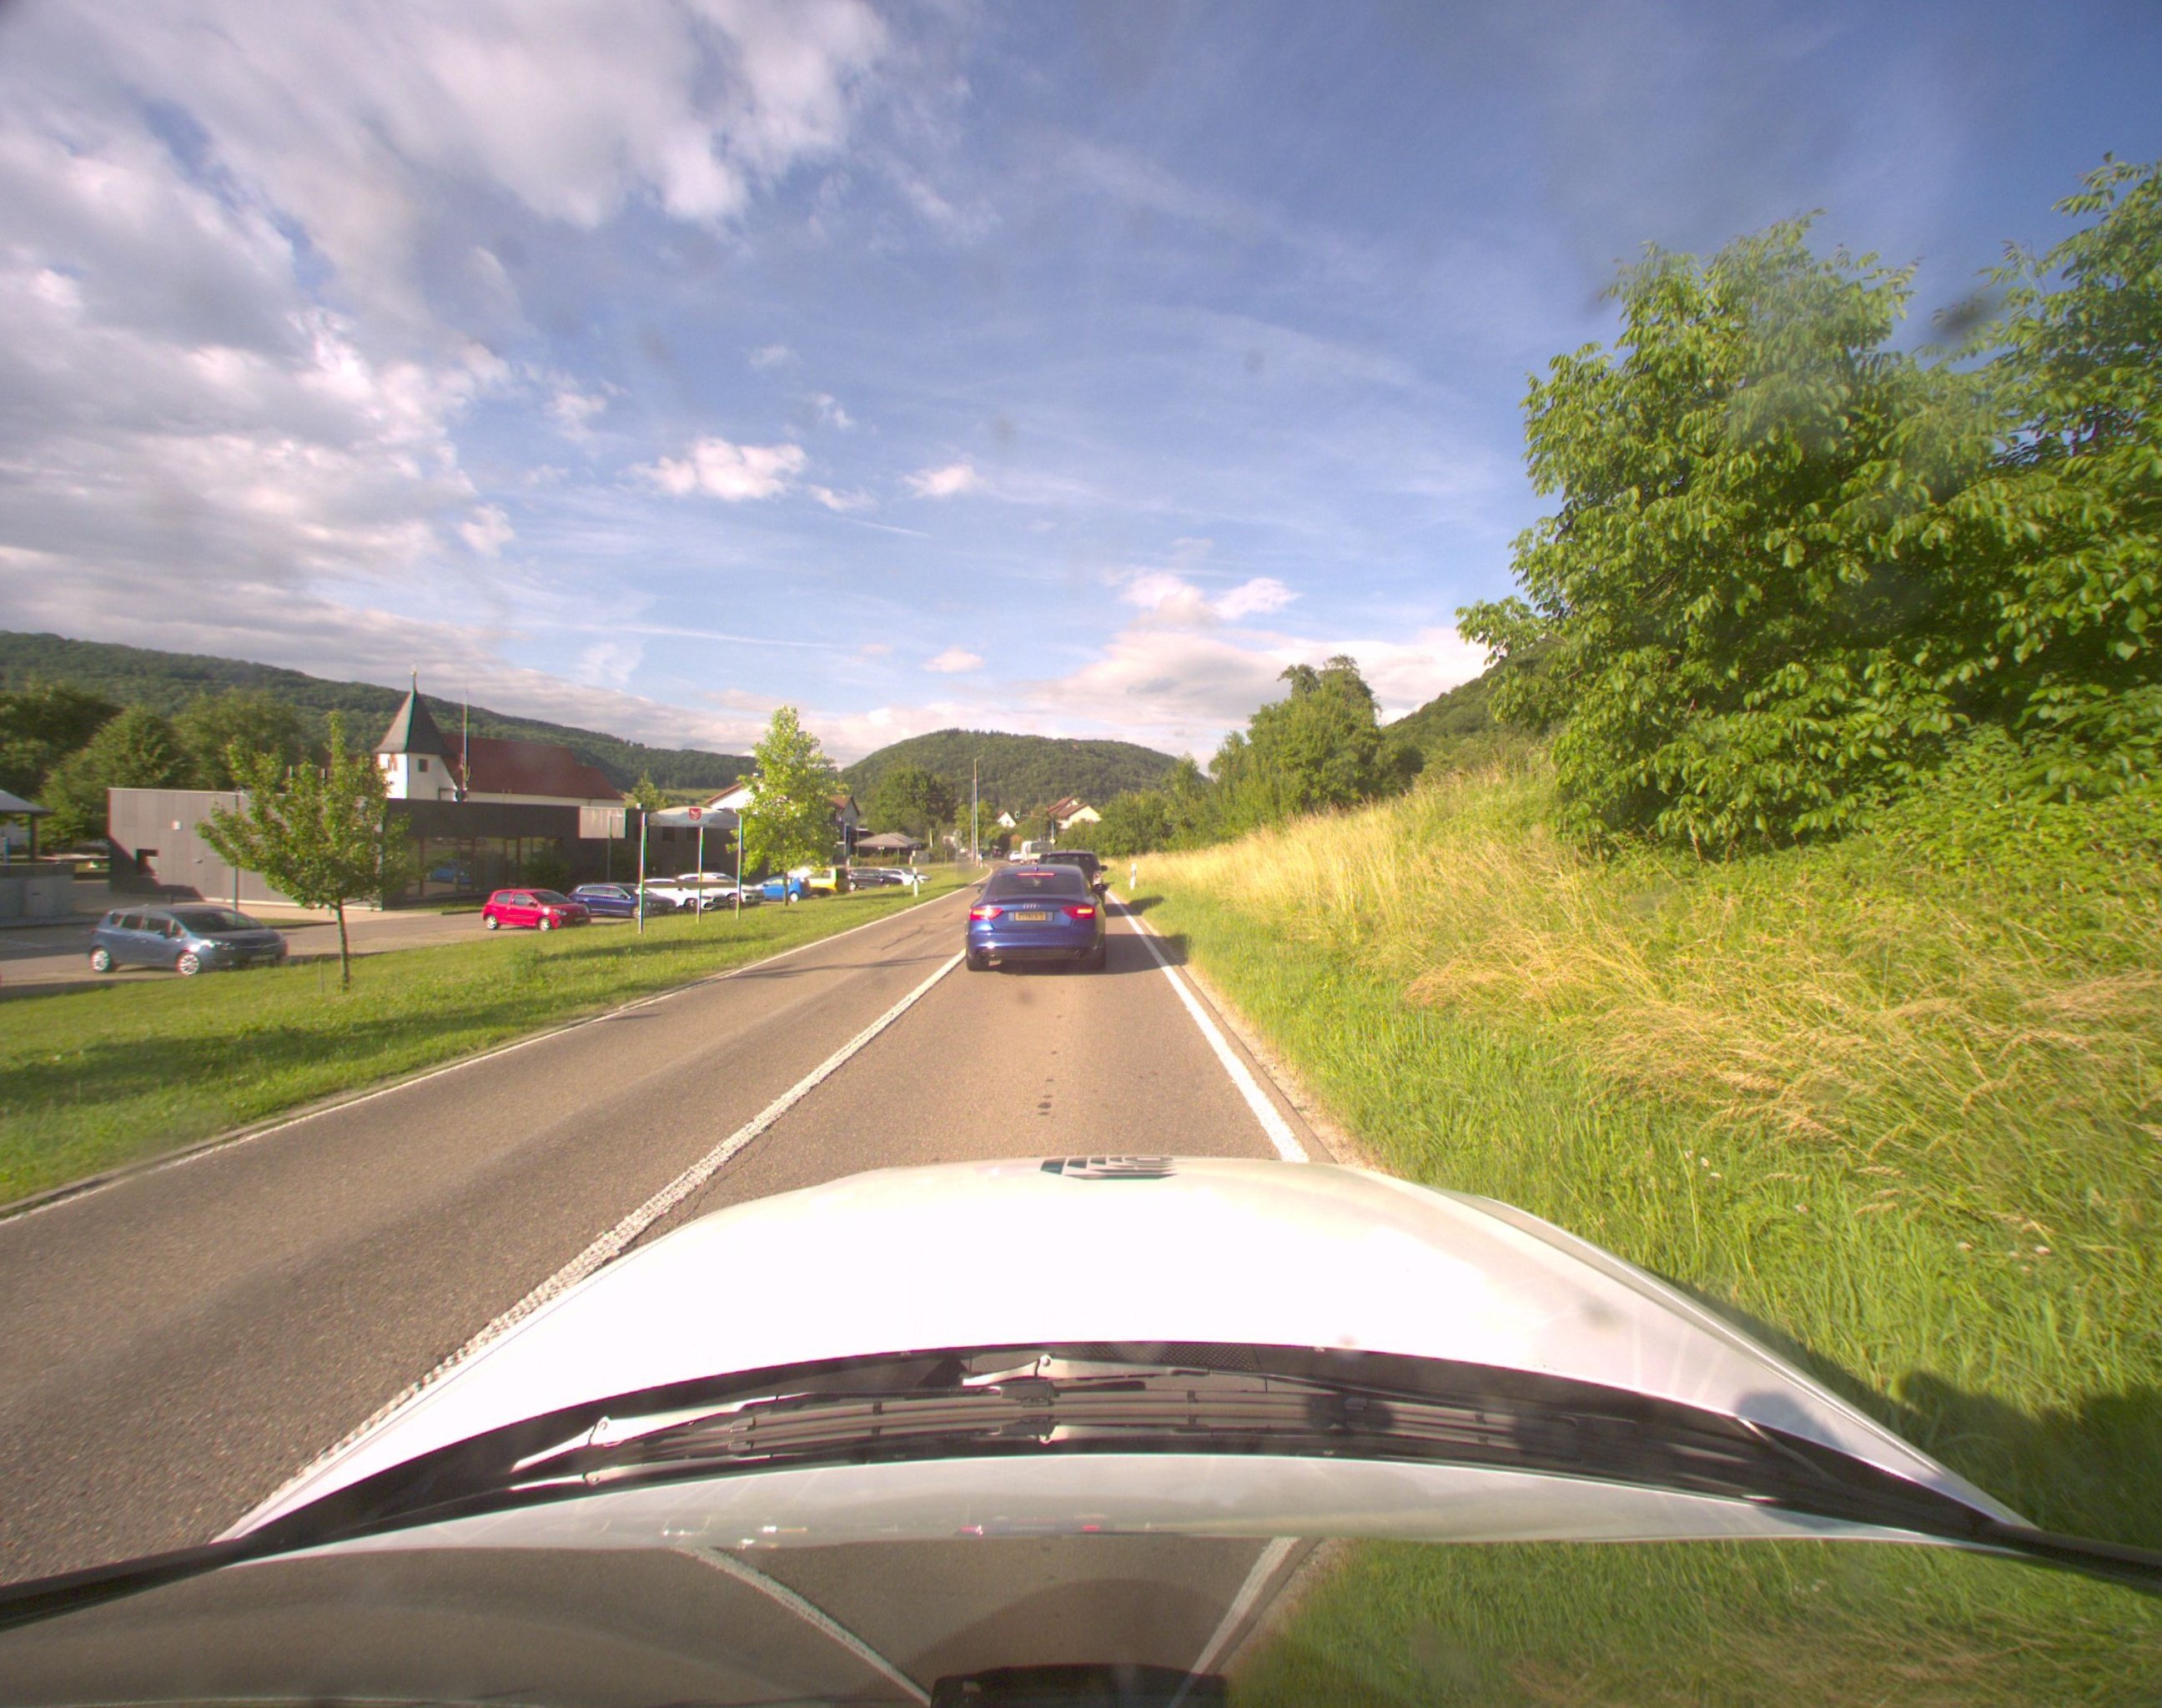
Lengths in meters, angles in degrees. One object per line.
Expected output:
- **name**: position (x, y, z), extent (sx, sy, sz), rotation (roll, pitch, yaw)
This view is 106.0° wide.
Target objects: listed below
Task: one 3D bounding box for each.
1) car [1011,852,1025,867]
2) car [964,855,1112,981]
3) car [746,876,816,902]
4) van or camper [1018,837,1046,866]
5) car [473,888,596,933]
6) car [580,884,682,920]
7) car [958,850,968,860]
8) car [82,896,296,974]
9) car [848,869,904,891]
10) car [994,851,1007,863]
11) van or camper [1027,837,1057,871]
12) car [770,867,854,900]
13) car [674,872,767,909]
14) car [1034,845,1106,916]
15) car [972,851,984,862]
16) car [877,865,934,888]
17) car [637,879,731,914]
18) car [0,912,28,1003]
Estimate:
- **car**: position (-8.191, 0.737, 106.078), extent (1.657, 1.924, 3.991), rotation (-2, 0, -6)
- **car**: position (-0.553, 0.772, 11.535), extent (1.738, 1.450, 3.514), rotation (-2, 0, -2)
- **car**: position (-17.436, 2.014, 47.395), extent (3.354, 1.373, 1.662), rotation (-2, 0, 3)
- **van or camper**: position (-5.026, -0.205, 82.553), extent (2.279, 2.714, 5.751), rotation (-2, -1, -8)
- **car**: position (-20.109, 2.048, 29.998), extent (3.601, 1.444, 1.654), rotation (0, 1, 11)
- **car**: position (-19.299, 2.060, 34.950), extent (3.601, 1.405, 1.601), rotation (-2, -1, 11)
- **car**: position (-25.229, 0.272, 173.756), extent (1.680, 1.924, 3.978), rotation (-2, -1, -16)
- **car**: position (-21.827, 1.965, 19.984), extent (3.794, 1.722, 1.737), rotation (-1, -1, 10)
- **car**: position (-15.022, 1.905, 59.708), extent (3.688, 1.439, 1.514), rotation (-2, -1, 11)
- **car**: position (-13.762, 0.512, 138.717), extent (1.678, 1.924, 3.983), rotation (-2, -1, -12)
- **van or camper**: position (-3.144, 0.033, 65.000), extent (2.049, 2.505, 5.799), rotation (-2, 0, -6)
- **car**: position (-16.486, 1.795, 49.971), extent (4.524, 1.815, 1.847), rotation (-2, -1, 11)
- **car**: position (-18.315, 1.850, 41.395), extent (4.050, 1.673, 1.601), rotation (-2, -1, 11)
- **car**: position (-0.282, 0.612, 20.511), extent (1.641, 1.625, 3.515), rotation (0, 0, -1)
- **car**: position (-19.831, 0.523, 156.771), extent (1.680, 1.924, 3.979), rotation (-2, -1, -15)
- **car**: position (-13.819, 1.774, 64.248), extent (4.009, 1.660, 1.661), rotation (-2, -1, 11)
- **car**: position (-18.571, 1.997, 38.139), extent (3.642, 1.494, 1.601), rotation (-2, 0, 11)
- **car**: position (-22.853, 2.025, 15.483), extent (3.840, 1.722, 1.760), rotation (0, 0, 8)
